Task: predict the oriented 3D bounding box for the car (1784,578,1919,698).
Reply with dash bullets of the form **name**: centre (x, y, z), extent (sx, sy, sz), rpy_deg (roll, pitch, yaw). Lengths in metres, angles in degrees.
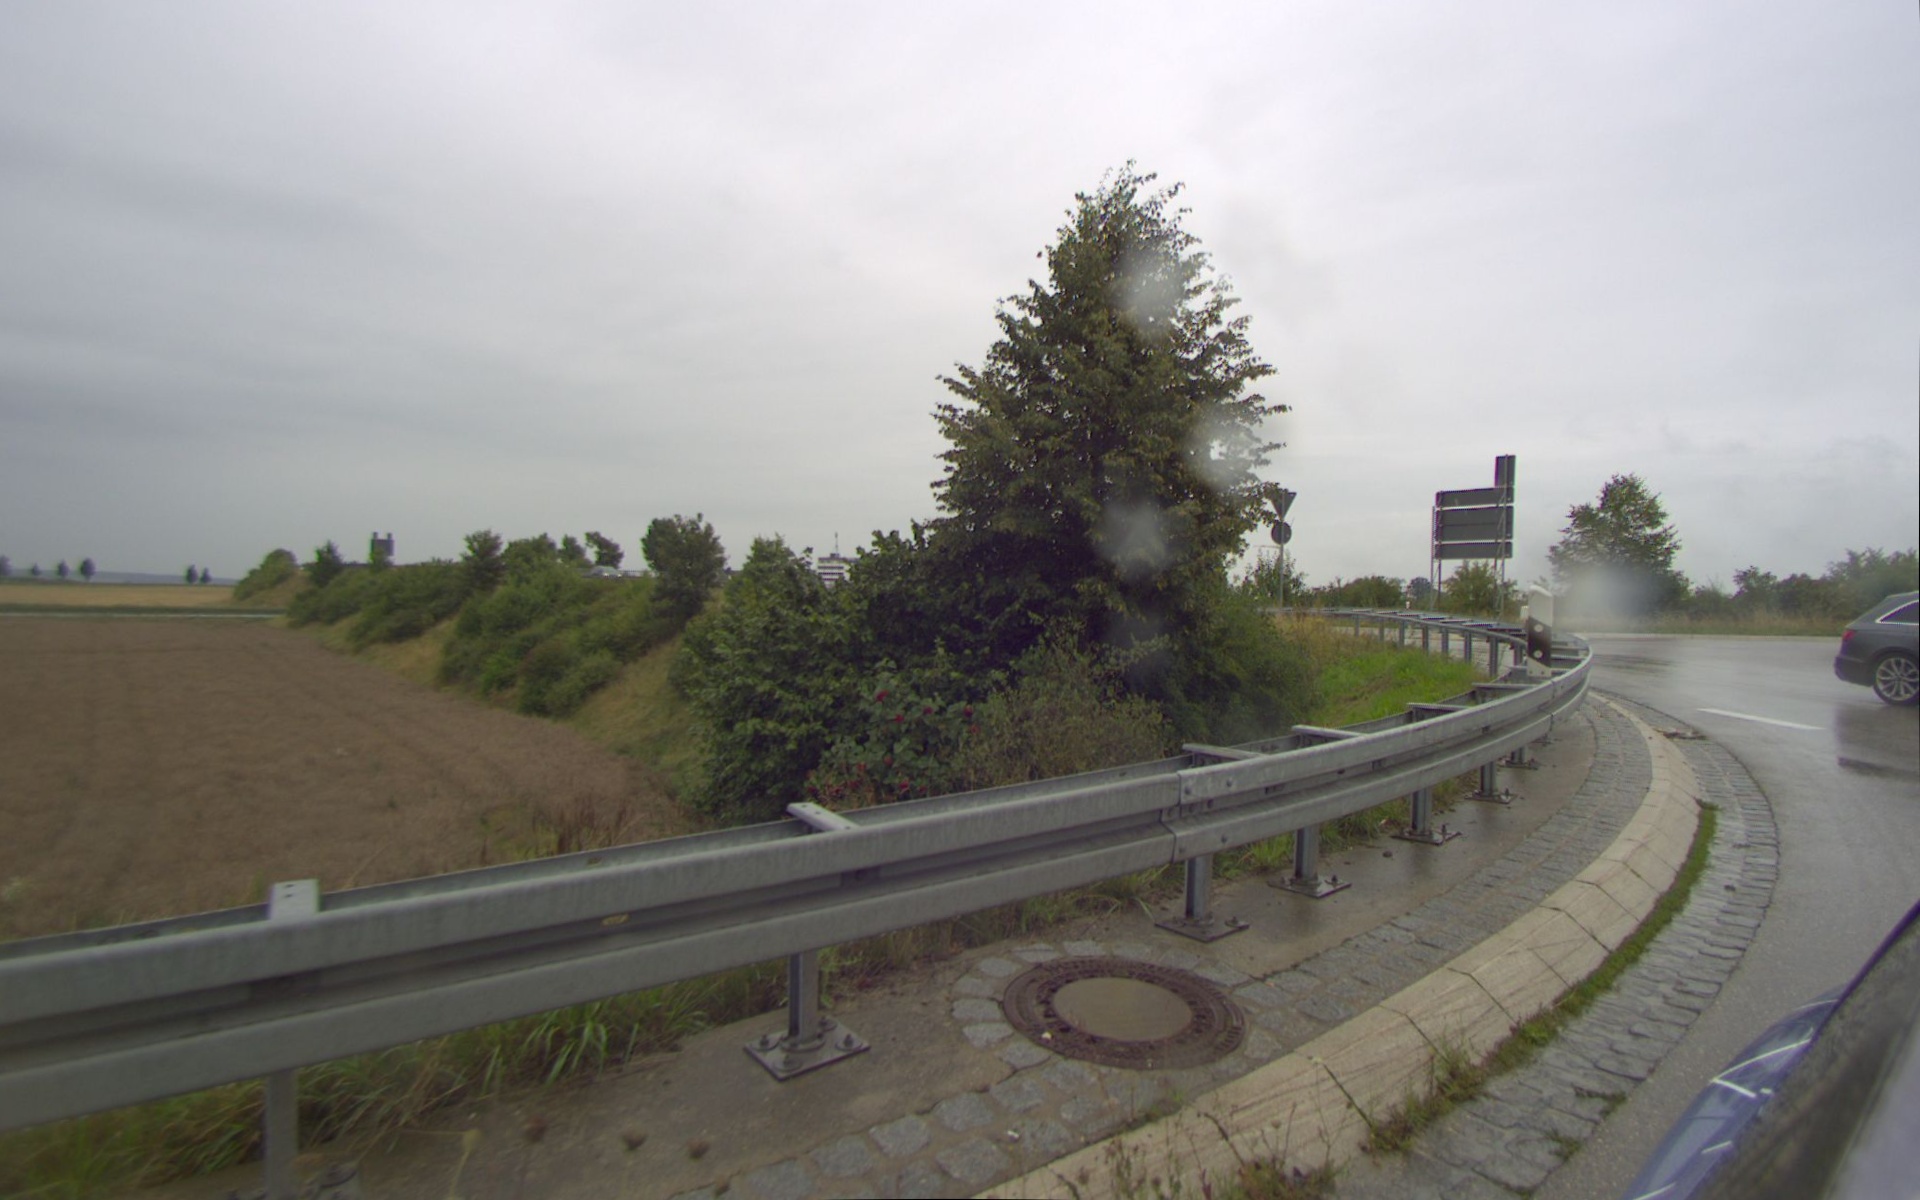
- **car**: centre (12.124, 0.452, 11.273), extent (1.872, 1.386, 4.570), rpy_deg (0, 0, -6)
